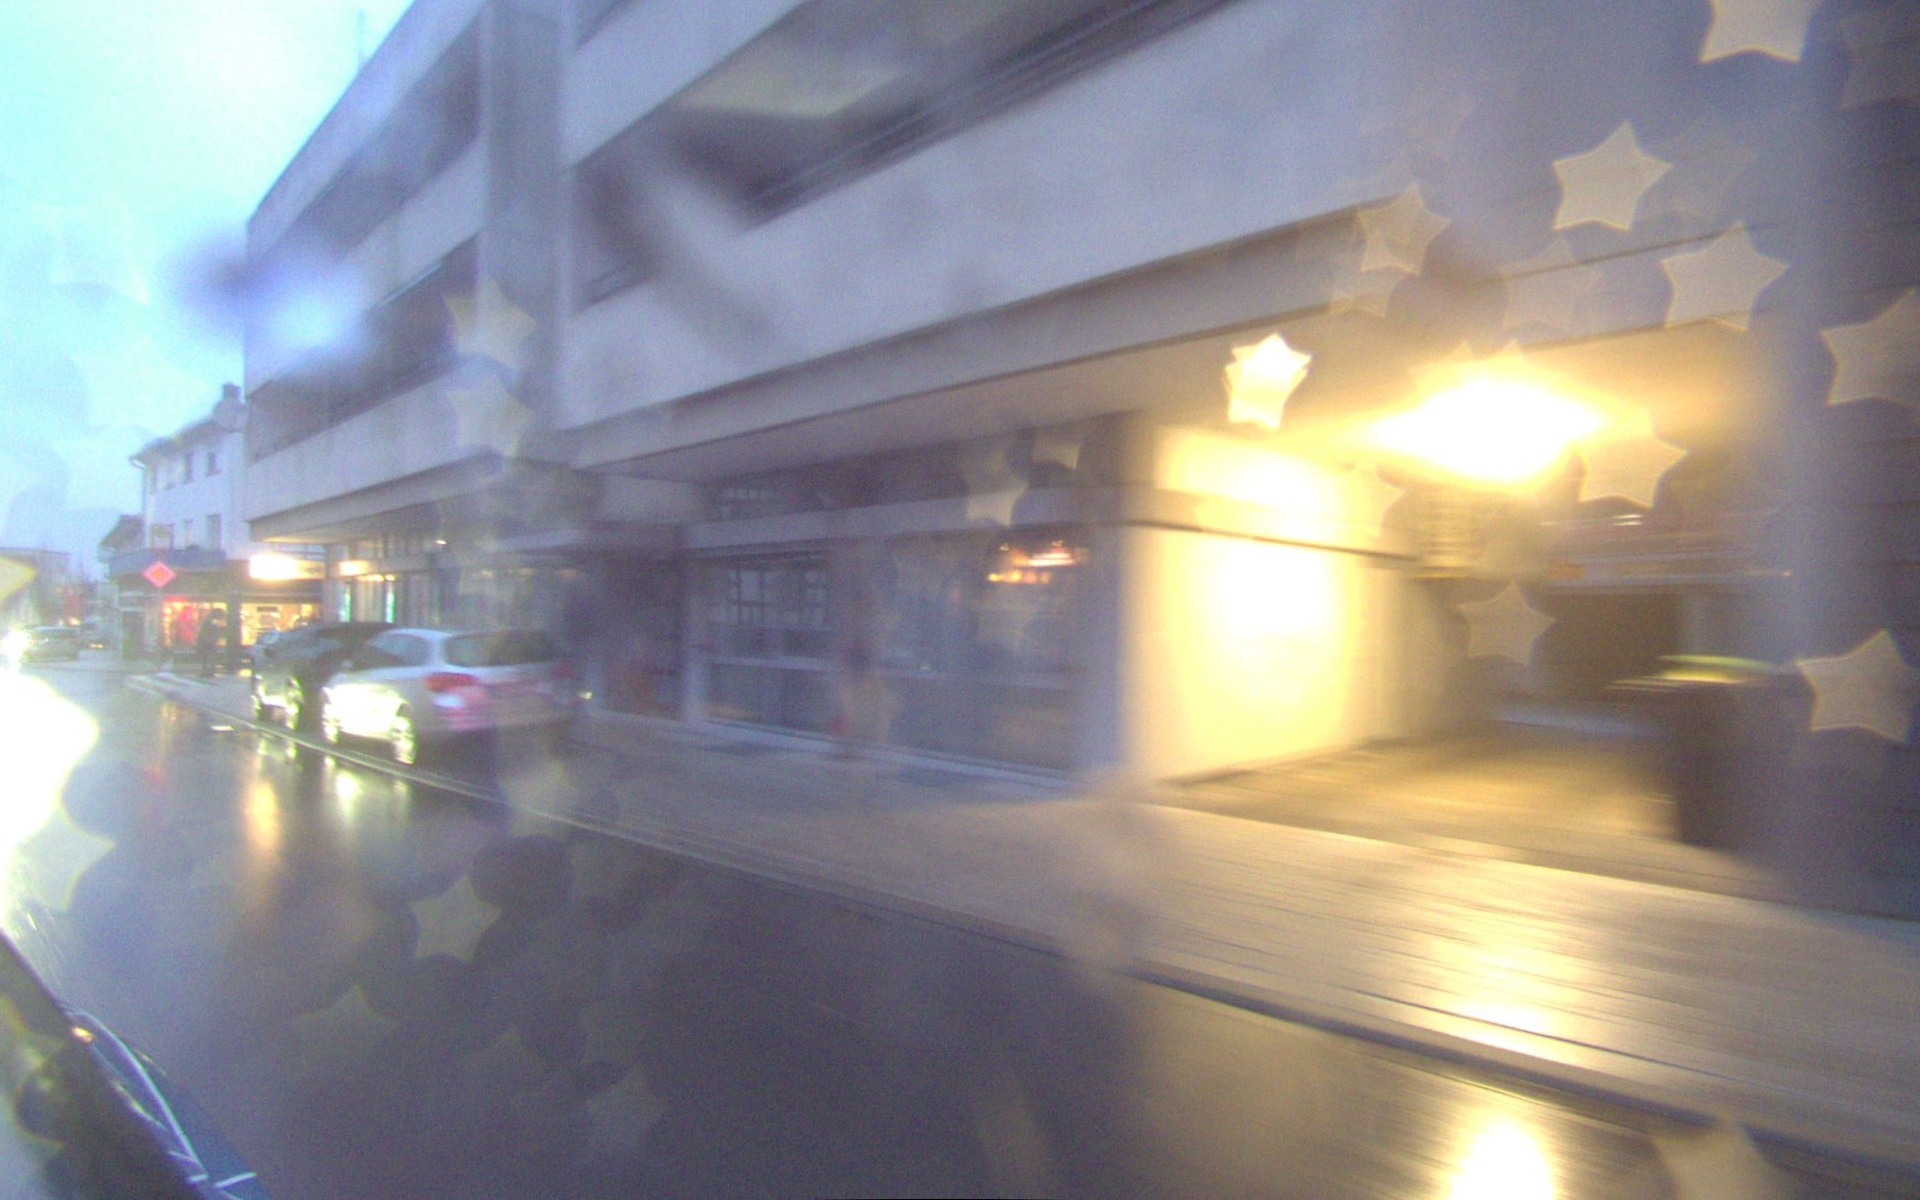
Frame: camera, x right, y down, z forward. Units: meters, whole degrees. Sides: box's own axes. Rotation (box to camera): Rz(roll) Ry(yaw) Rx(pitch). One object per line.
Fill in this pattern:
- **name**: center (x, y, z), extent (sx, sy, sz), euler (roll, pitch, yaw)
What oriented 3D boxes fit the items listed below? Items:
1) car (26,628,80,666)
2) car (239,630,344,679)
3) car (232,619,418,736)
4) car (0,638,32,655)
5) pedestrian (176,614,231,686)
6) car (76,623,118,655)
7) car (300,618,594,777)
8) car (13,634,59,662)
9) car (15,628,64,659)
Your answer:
- **car**: center (-42.610, 2.185, 47.535), extent (1.701, 1.626, 3.818), euler (-2, 0, -44)
- **car**: center (-21.724, 1.793, 32.838), extent (4.448, 1.511, 1.745), euler (-4, -4, 41)
- **car**: center (-9.939, 1.105, 15.717), extent (1.596, 1.544, 3.930), euler (-1, -1, -45)
- **car**: center (-86.759, 4.275, 93.020), extent (1.771, 1.522, 4.008), euler (3, -3, -37)
- **pedestrian**: center (-21.157, 1.387, 28.293), extent (1.183, 1.953, 0.978), euler (1, -3, -38)
- **car**: center (-76.817, 3.465, 90.145), extent (2.013, 2.680, 4.223), euler (-2, -1, -30)
- **car**: center (-6.237, 1.015, 12.044), extent (4.428, 1.457, 1.657), euler (-2, 1, 43)
- **car**: center (-53.727, 2.770, 58.915), extent (1.772, 1.467, 4.402), euler (-1, -1, -40)
- **car**: center (-60.190, 2.853, 66.254), extent (1.855, 1.914, 4.845), euler (-1, -2, -36)
